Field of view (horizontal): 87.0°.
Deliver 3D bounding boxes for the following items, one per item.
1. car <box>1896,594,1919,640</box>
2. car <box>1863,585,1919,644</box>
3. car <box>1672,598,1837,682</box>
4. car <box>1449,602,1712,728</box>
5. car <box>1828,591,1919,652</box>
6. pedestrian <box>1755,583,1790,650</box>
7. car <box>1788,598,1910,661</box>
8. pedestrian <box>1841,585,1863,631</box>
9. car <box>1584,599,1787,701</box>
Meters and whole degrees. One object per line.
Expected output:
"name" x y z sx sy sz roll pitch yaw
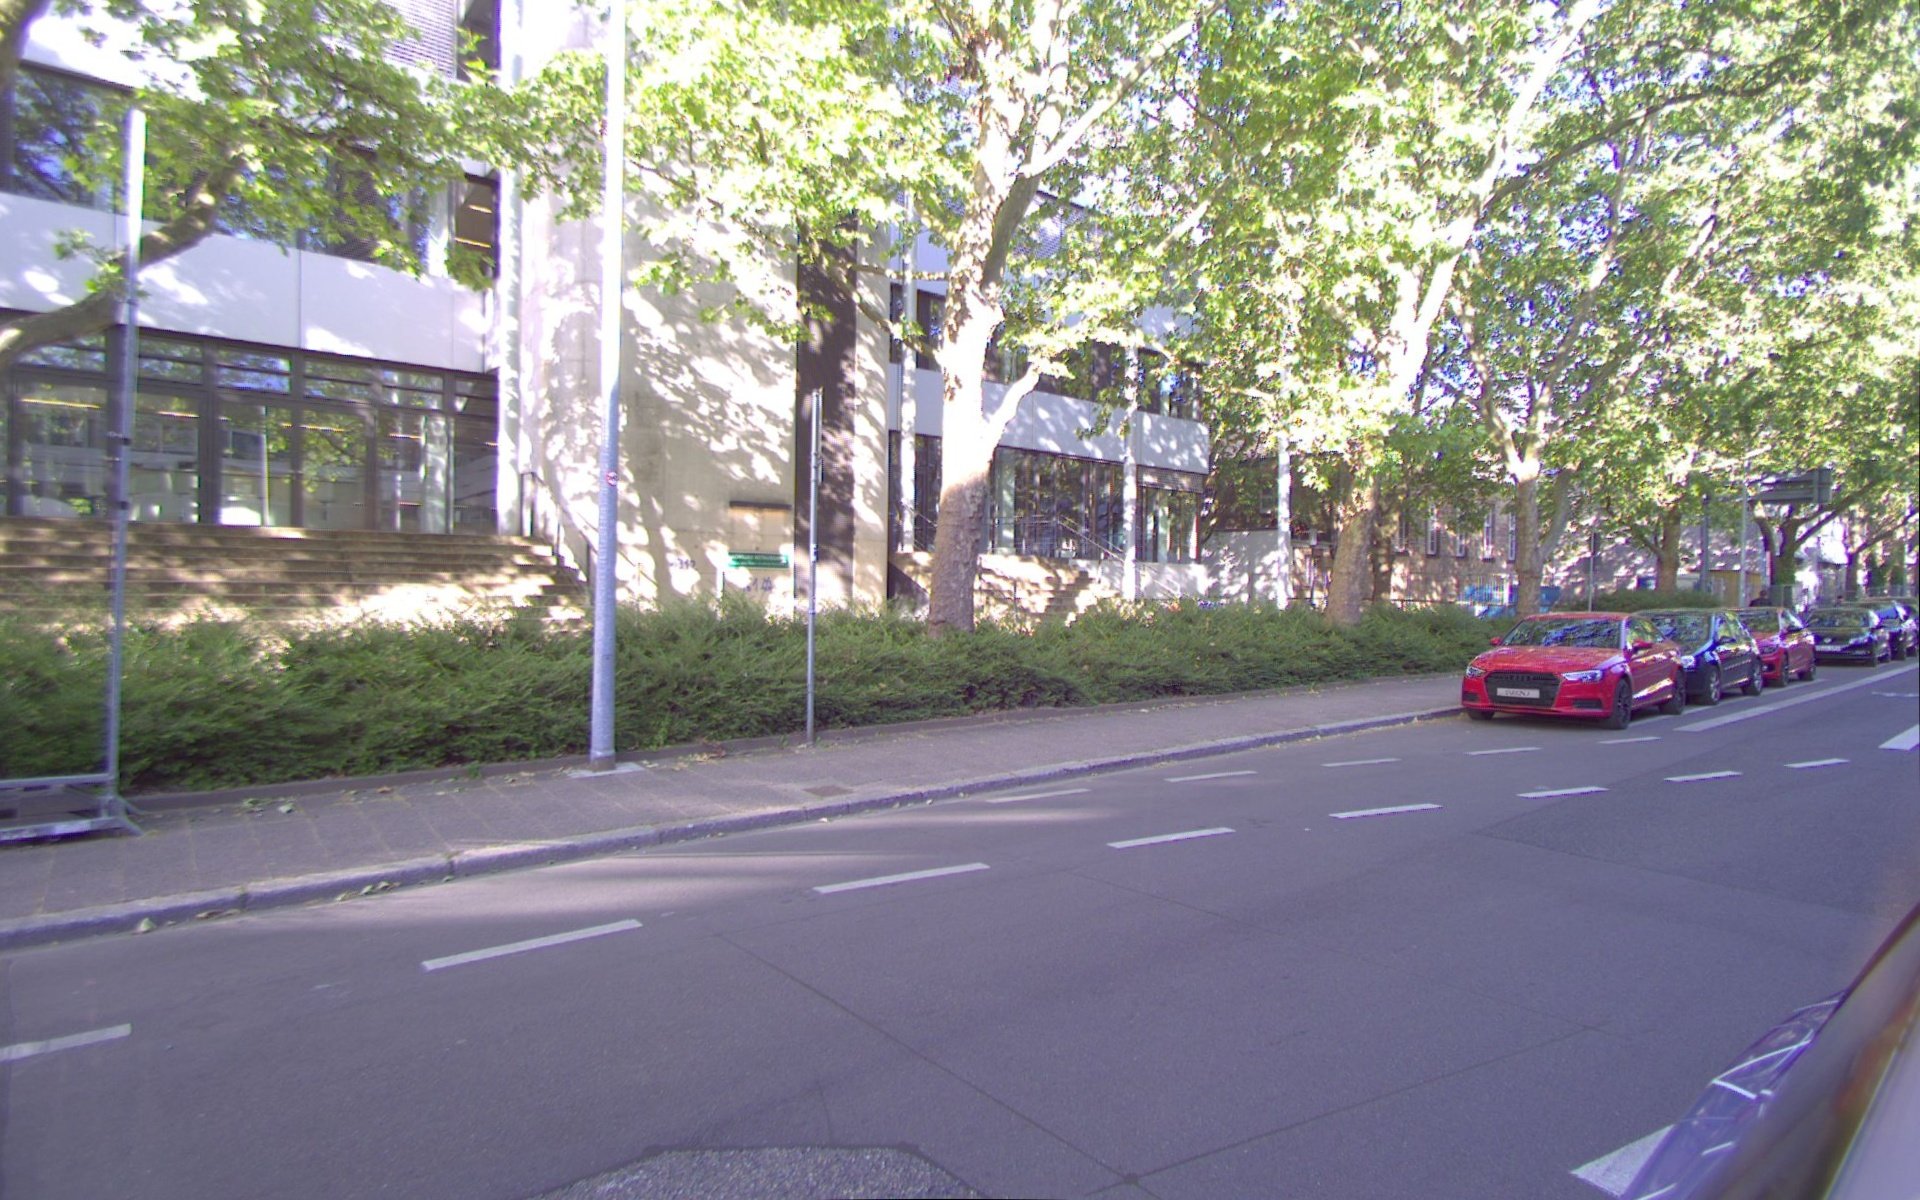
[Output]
"car" 35.907 0.585 37.101 4.183 1.634 1.834 0 0 -40
"car" 31.044 0.442 32.976 4.383 1.820 1.834 0 0 -40
"car" 15.838 0.712 20.099 4.095 1.486 1.834 0 0 -41
"car" 8.403 0.739 13.568 4.173 1.422 1.834 0 0 -41
"car" 26.559 0.576 29.086 4.088 1.626 1.834 0 0 -40
"pedestrian" 23.177 0.460 28.857 0.629 1.884 0.660 0 0 -41
"car" 22.870 0.705 25.991 4.095 1.486 1.834 0 0 -41
"pedestrian" 35.153 0.311 39.883 0.583 1.818 0.600 0 0 -41
"car" 12.023 0.721 16.685 4.095 1.464 1.834 0 0 -41
